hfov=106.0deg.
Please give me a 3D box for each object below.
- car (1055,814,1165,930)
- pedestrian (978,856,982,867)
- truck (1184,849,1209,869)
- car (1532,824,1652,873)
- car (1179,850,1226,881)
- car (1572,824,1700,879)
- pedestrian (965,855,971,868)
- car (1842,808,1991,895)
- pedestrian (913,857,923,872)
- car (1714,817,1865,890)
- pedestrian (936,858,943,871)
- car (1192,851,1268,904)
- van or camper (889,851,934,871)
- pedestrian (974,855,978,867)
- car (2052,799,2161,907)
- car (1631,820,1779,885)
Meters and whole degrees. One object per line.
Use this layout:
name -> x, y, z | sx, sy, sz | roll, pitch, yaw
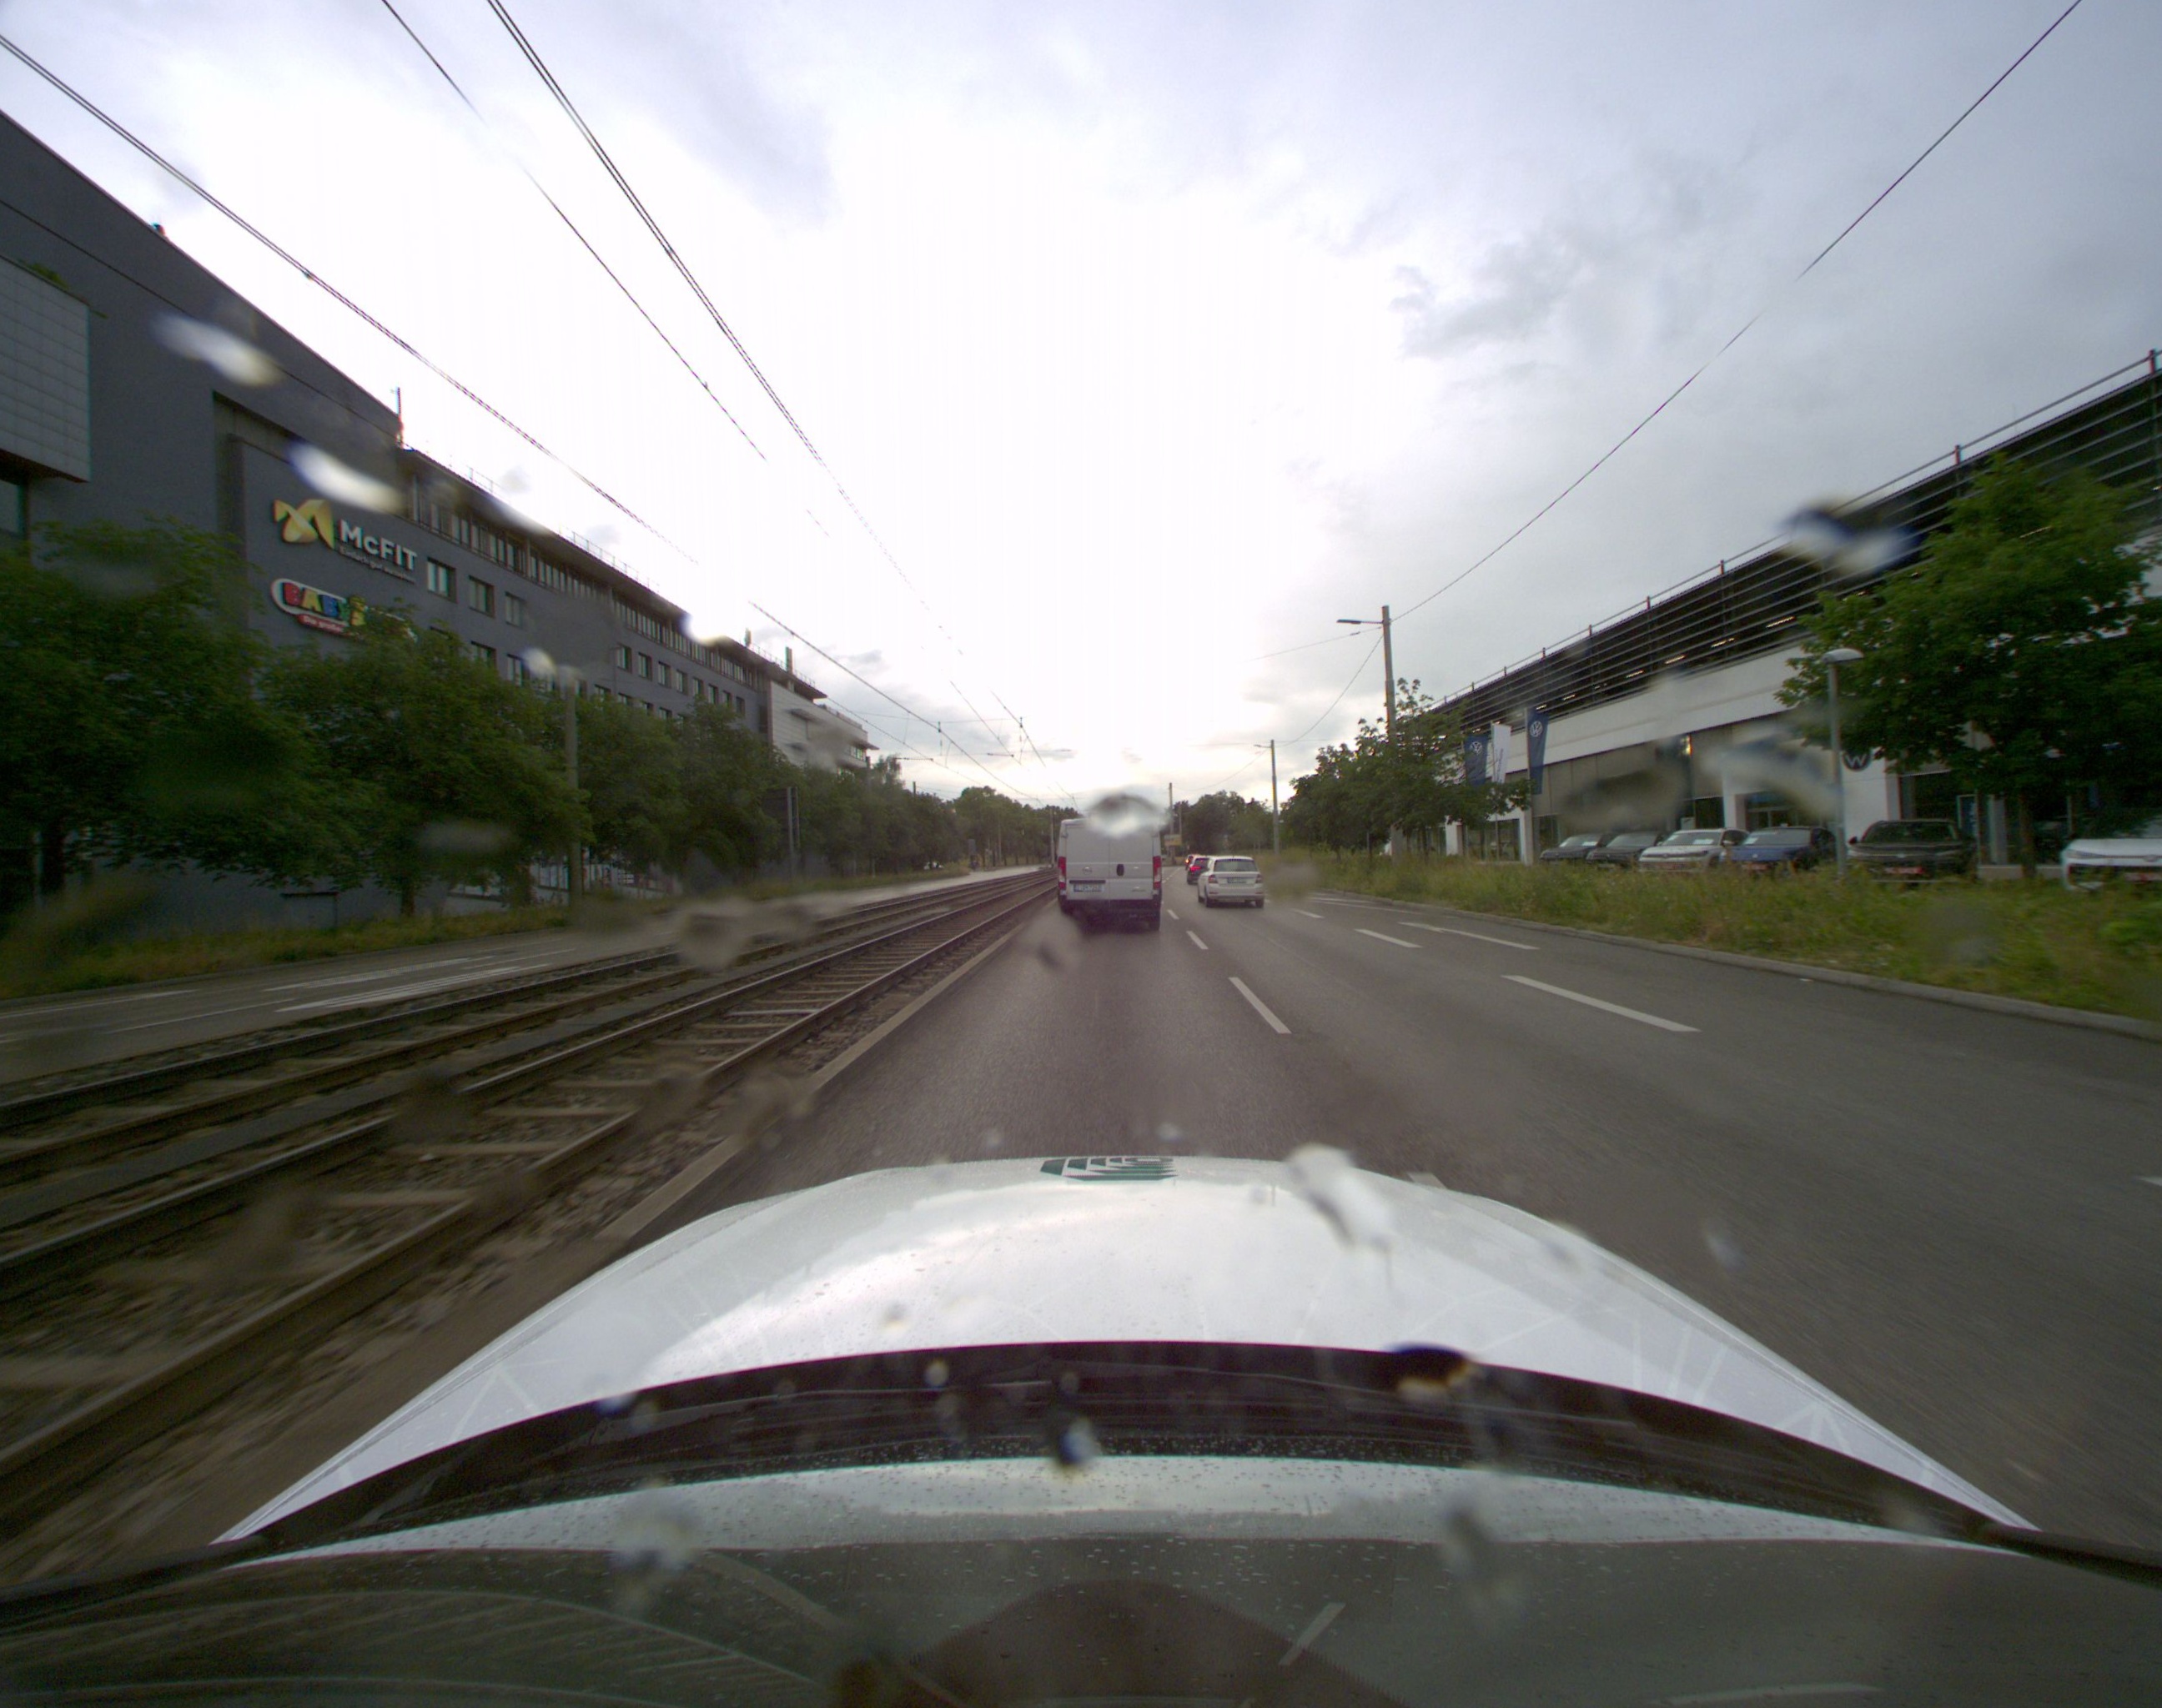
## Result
car -> 0.603, 0.334, 18.040 | 2.083, 2.196, 5.062 | 0, 0, 1
pedestrian -> -15.821, 1.192, 127.581 | 0.503, 1.787, 0.833 | 0, 0, 7
truck -> 10.935, 0.444, 77.505 | 1.984, 1.790, 4.420 | -3, 0, 4
car -> 19.838, -0.210, 31.555 | 4.639, 1.568, 1.835 | -4, -1, -29
car -> 6.050, 0.586, 40.965 | 1.784, 1.449, 3.999 | -1, 0, 0
car -> 18.940, -0.104, 27.739 | 4.389, 1.568, 1.782 | -4, -1, -30
pedestrian -> -17.935, 1.247, 129.130 | 0.885, 2.013, 0.865 | -2, -1, -2
car -> 17.816, -0.088, 17.318 | 4.212, 1.568, 1.778 | -3, -1, -39
pedestrian -> -22.120, 1.412, 110.515 | 0.880, 2.013, 0.950 | -2, -1, 18
car -> 18.205, -0.042, 20.890 | 4.207, 1.568, 1.780 | -3, -1, -34
pedestrian -> -19.513, 1.440, 112.420 | 0.721, 1.755, 0.879 | 0, 0, 5
car -> 4.370, 0.645, 24.337 | 1.740, 1.457, 3.673 | 0, 0, 2
van or camper -> -26.469, 1.088, 127.016 | 7.279, 2.967, 2.507 | -2, 0, 37
pedestrian -> -16.451, 1.103, 127.844 | 0.493, 1.955, 0.723 | 0, -1, 7
car -> 17.565, -0.094, 13.310 | 4.118, 1.568, 1.779 | -3, -1, -35
car -> 18.766, -0.059, 24.475 | 4.367, 1.626, 1.839 | -4, -1, -29
